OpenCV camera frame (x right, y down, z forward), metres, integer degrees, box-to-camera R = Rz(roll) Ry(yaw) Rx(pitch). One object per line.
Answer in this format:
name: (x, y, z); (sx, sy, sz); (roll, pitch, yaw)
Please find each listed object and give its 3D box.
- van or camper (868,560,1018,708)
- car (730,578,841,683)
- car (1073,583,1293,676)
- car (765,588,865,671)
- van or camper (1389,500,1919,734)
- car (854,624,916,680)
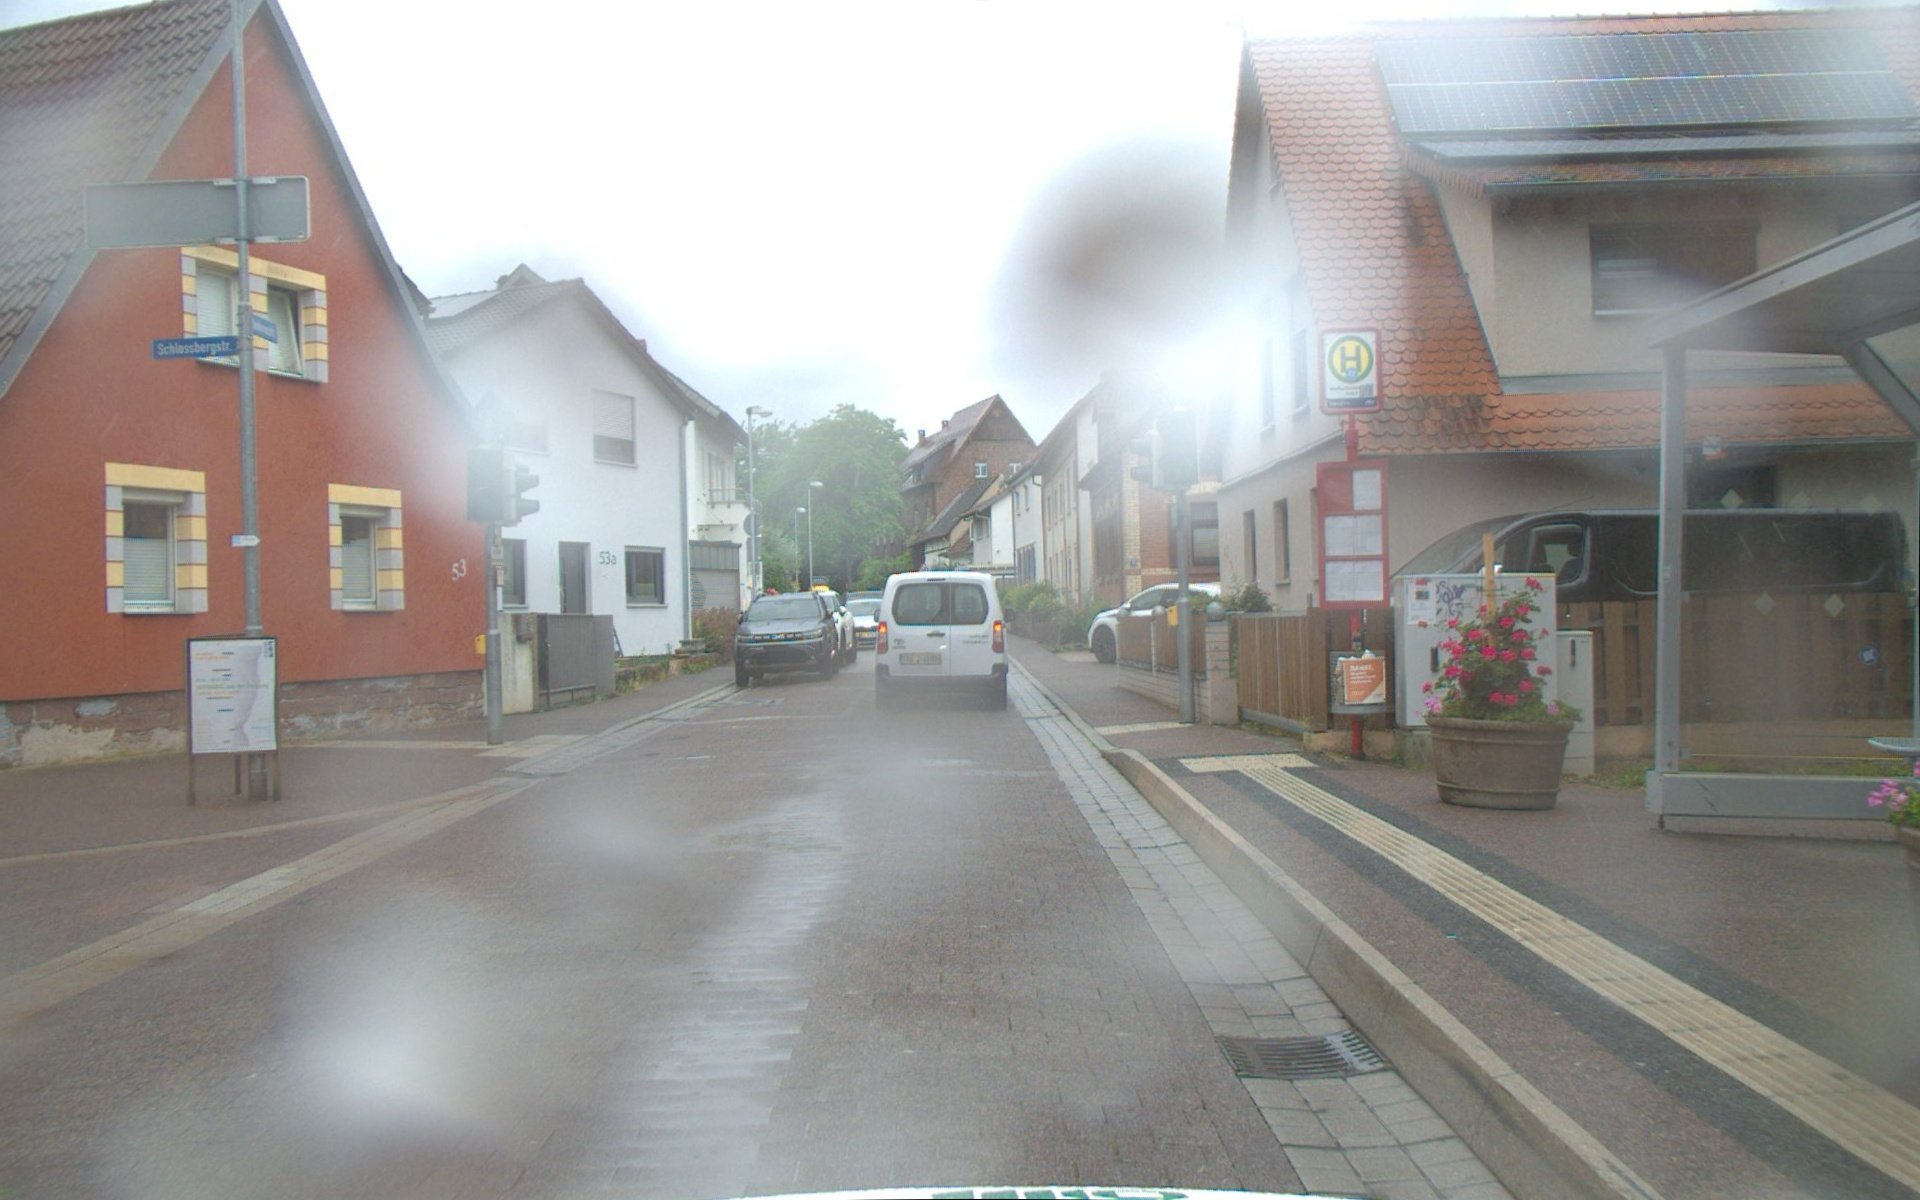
van or camper: (-0.233, 0.410, 23.119); (1.904, 1.883, 4.000); (0, 1, -1)
car: (-3.267, 0.526, 31.642); (1.776, 1.810, 4.016); (-2, 1, -2)
car: (4.340, 0.516, 32.877); (1.853, 1.617, 4.568); (0, 2, -32)
car: (-3.255, 0.669, 37.831); (1.713, 1.665, 4.418); (-4, -1, 1)
van or camper: (6.616, 0.155, 14.970); (4.968, 1.957, 1.875); (0, 0, -4)
car: (-2.315, 1.582, 50.498); (1.656, 1.592, 3.929); (-2, -2, -6)
